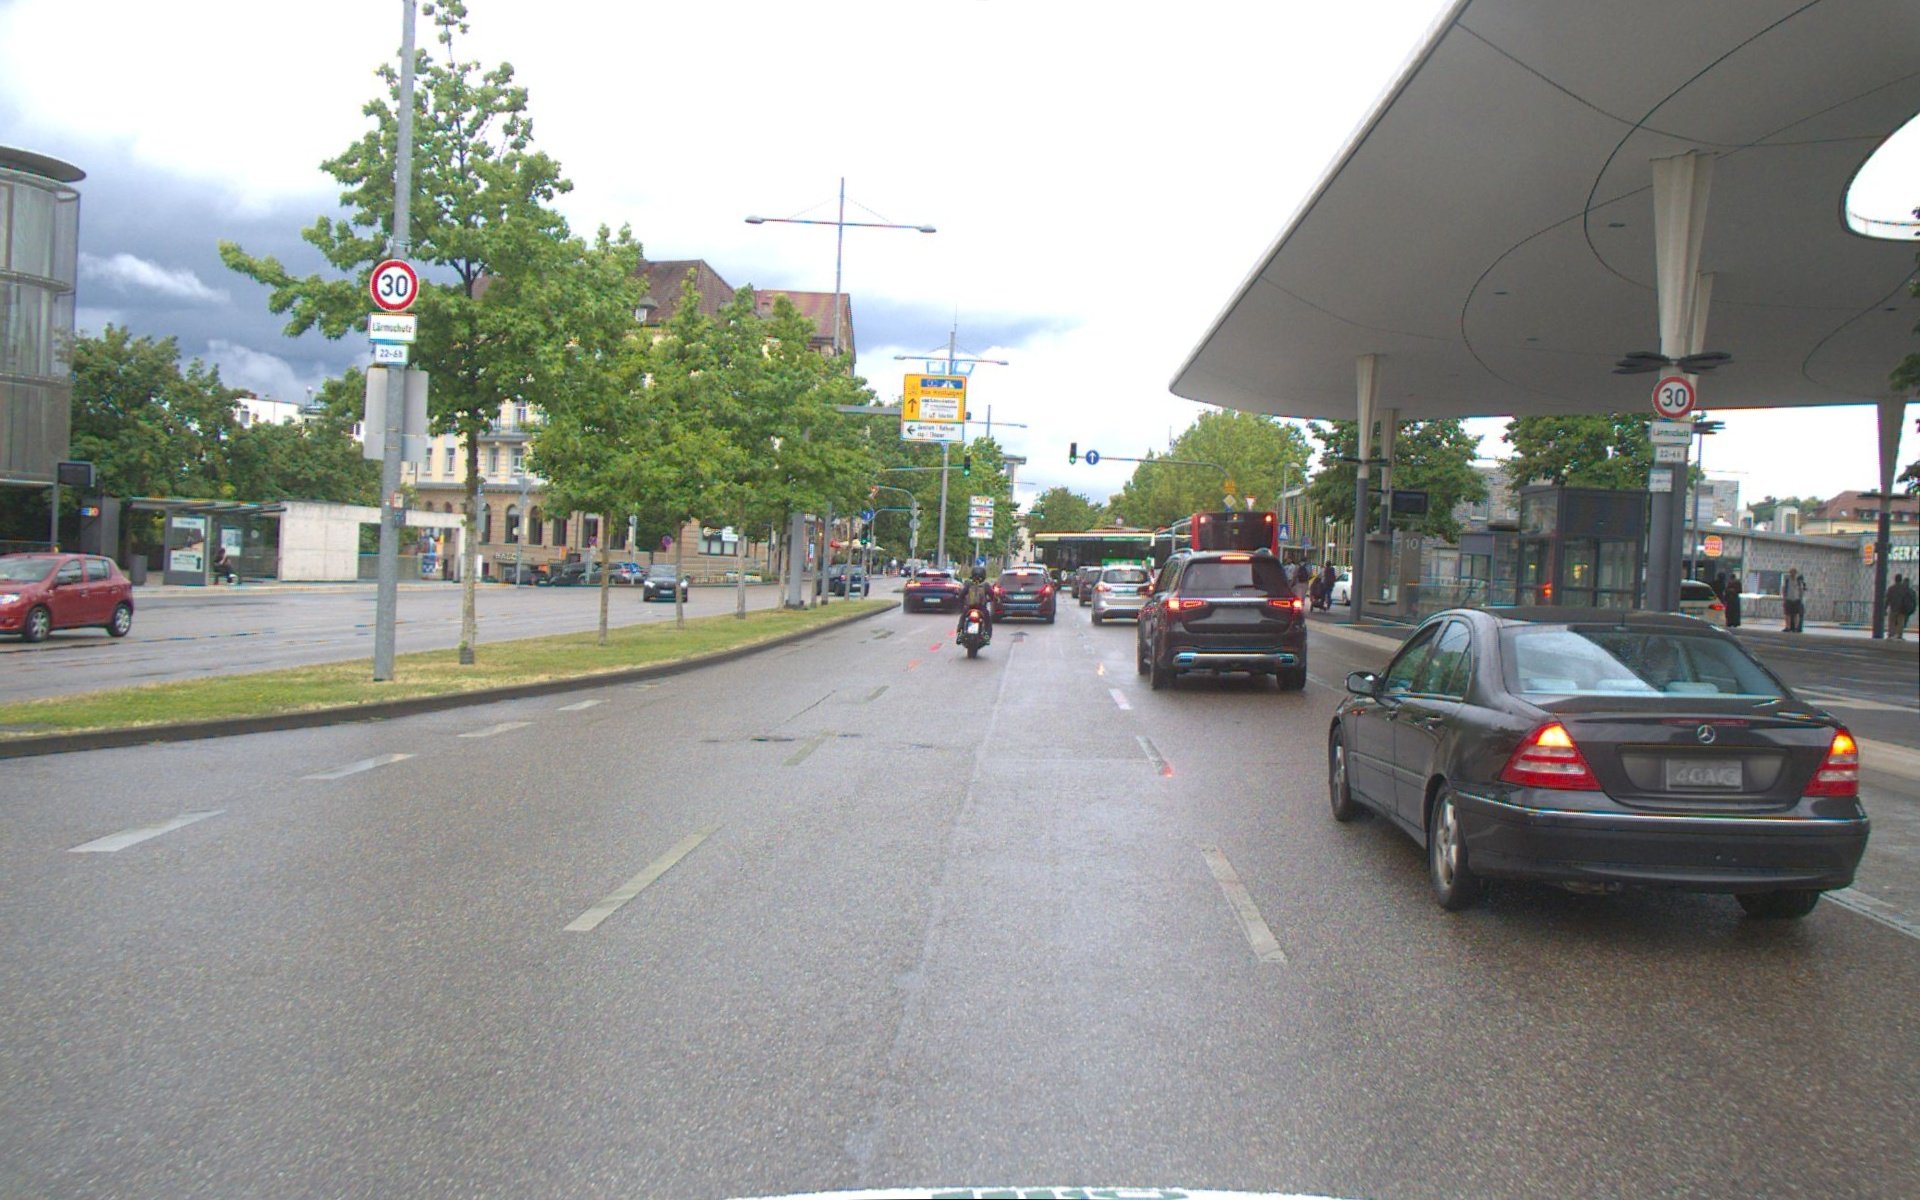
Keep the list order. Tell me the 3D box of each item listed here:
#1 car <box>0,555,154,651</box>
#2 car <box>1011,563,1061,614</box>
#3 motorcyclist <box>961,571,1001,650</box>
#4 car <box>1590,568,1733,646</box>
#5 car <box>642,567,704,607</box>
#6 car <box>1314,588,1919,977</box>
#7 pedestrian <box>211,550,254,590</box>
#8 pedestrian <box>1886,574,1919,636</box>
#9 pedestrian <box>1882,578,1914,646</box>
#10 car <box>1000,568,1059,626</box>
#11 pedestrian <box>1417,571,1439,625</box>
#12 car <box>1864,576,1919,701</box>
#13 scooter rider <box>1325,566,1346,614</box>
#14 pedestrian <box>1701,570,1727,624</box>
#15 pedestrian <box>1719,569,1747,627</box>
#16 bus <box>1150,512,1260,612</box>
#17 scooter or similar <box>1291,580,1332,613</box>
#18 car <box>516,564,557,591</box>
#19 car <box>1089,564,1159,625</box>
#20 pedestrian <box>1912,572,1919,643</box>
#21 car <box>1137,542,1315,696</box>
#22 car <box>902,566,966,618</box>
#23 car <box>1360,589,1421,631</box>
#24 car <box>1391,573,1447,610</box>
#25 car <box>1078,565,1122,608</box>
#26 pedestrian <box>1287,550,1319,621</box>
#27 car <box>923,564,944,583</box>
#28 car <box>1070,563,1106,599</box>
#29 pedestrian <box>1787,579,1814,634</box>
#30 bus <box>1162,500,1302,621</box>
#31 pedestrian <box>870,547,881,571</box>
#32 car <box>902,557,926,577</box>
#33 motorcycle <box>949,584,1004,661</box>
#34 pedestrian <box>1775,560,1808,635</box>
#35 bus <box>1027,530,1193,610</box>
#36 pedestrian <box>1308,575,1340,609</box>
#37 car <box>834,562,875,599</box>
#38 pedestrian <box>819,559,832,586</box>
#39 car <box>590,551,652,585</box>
[{"bbox_3d":[-16.346,0.009,29.443,1.784,1.579,4.035,1,1,4],"label":"car"},{"bbox_3d":[2.460,-0.403,53.577,1.542,1.594,3.873,0,1,3],"label":"car"},{"bbox_3d":[0.369,0.182,29.172,0.628,1.371,0.689,1,1,6],"label":"motorcyclist"},{"bbox_3d":[16.750,0.111,39.714,1.676,1.691,4.241,3,1,2],"label":"car"},{"bbox_3d":[-11.620,-0.538,67.182,1.646,1.554,4.640,1,1,0],"label":"car"},{"bbox_3d":[3.126,0.715,8.794,1.662,1.487,4.305,1,1,2],"label":"car"},{"bbox_3d":[-25.212,-1.046,57.313,0.956,1.289,0.849,6,2,23],"label":"pedestrian"},{"bbox_3d":[25.611,0.127,44.712,0.573,1.605,0.766,7,-3,-29],"label":"pedestrian"},{"bbox_3d":[22.872,0.294,40.346,0.586,1.609,0.711,2,-1,27],"label":"pedestrian"},{"bbox_3d":[1.954,-0.121,45.781,1.542,1.531,3.873,0,1,4],"label":"car"},{"bbox_3d":[15.238,-0.066,53.836,0.563,1.707,0.582,1,0,29],"label":"pedestrian"},{"bbox_3d":[12.260,0.501,19.340,1.613,1.478,3.238,2,1,1],"label":"car"},{"bbox_3d":[11.929,-0.313,52.528,0.579,1.516,0.765,2,0,16],"label":"scooter rider"},{"bbox_3d":[23.343,-0.091,51.189,0.569,1.605,0.560,4,-3,32],"label":"pedestrian"},{"bbox_3d":[24.080,-0.057,51.516,0.570,1.745,0.559,3,-3,38],"label":"pedestrian"},{"bbox_3d":[8.866,-1.374,60.850,3.222,3.346,8.854,1,1,3],"label":"bus"},{"bbox_3d":[11.224,-0.116,52.785,1.217,1.030,0.764,2,0,17],"label":"scooter or similar"},{"bbox_3d":[-27.280,-1.477,106.471,1.642,1.632,3.218,-2,3,-31],"label":"car"},{"bbox_3d":[4.439,-0.180,45.244,1.704,1.594,3.873,0,1,3],"label":"car"},{"bbox_3d":[24.409,0.177,41.509,0.694,1.737,0.768,-2,3,15],"label":"pedestrian"},{"bbox_3d":[3.574,0.181,23.064,1.916,1.908,4.876,0,1,3],"label":"car"},{"bbox_3d":[-0.792,-0.280,53.465,1.778,1.598,4.406,0,1,3],"label":"car"},{"bbox_3d":[19.064,0.412,73.448,1.676,1.691,4.241,3,1,2],"label":"car"},{"bbox_3d":[20.958,-0.390,75.571,1.509,1.587,3.408,2,1,-1],"label":"car"},{"bbox_3d":[5.426,-0.552,64.282,1.542,1.594,3.873,0,1,3],"label":"car"},{"bbox_3d":[10.258,-0.439,49.467,0.761,2.048,0.782,5,1,15],"label":"pedestrian"},{"bbox_3d":[-2.316,-2.338,144.551,1.542,1.594,3.431,0,1,3],"label":"car"},{"bbox_3d":[5.865,-0.891,76.224,1.542,1.594,3.798,0,1,3],"label":"car"},{"bbox_3d":[25.655,0.209,50.490,0.570,1.605,0.559,3,-3,38],"label":"pedestrian"},{"bbox_3d":[8.307,-1.209,52.018,3.217,3.349,10.884,1,1,4],"label":"bus"},{"bbox_3d":[-7.367,-3.564,143.638,0.714,2.000,0.820,0,1,-24],"label":"pedestrian"},{"bbox_3d":[-3.807,-2.775,138.267,1.743,1.594,3.431,0,1,3],"label":"car"},{"bbox_3d":[0.305,0.369,29.044,0.776,1.284,1.856,0,1,6],"label":"motorcycle"},{"bbox_3d":[23.622,-0.060,46.995,0.710,2.048,0.669,4,-3,29],"label":"pedestrian"},{"bbox_3d":[8.004,-1.681,90.833,2.807,4.057,11.746,1,1,-30],"label":"bus"},{"bbox_3d":[11.564,-0.243,52.565,0.894,1.002,0.634,3,-3,17],"label":"pedestrian"},{"bbox_3d":[-5.064,-0.930,79.021,1.801,1.656,3.701,2,1,-6],"label":"car"},{"bbox_3d":[-10.315,-2.080,126.865,0.714,2.048,0.820,0,1,-24],"label":"pedestrian"},{"bbox_3d":[-19.459,-1.834,94.863,1.852,1.713,3.947,6,-2,-37],"label":"car"}]
